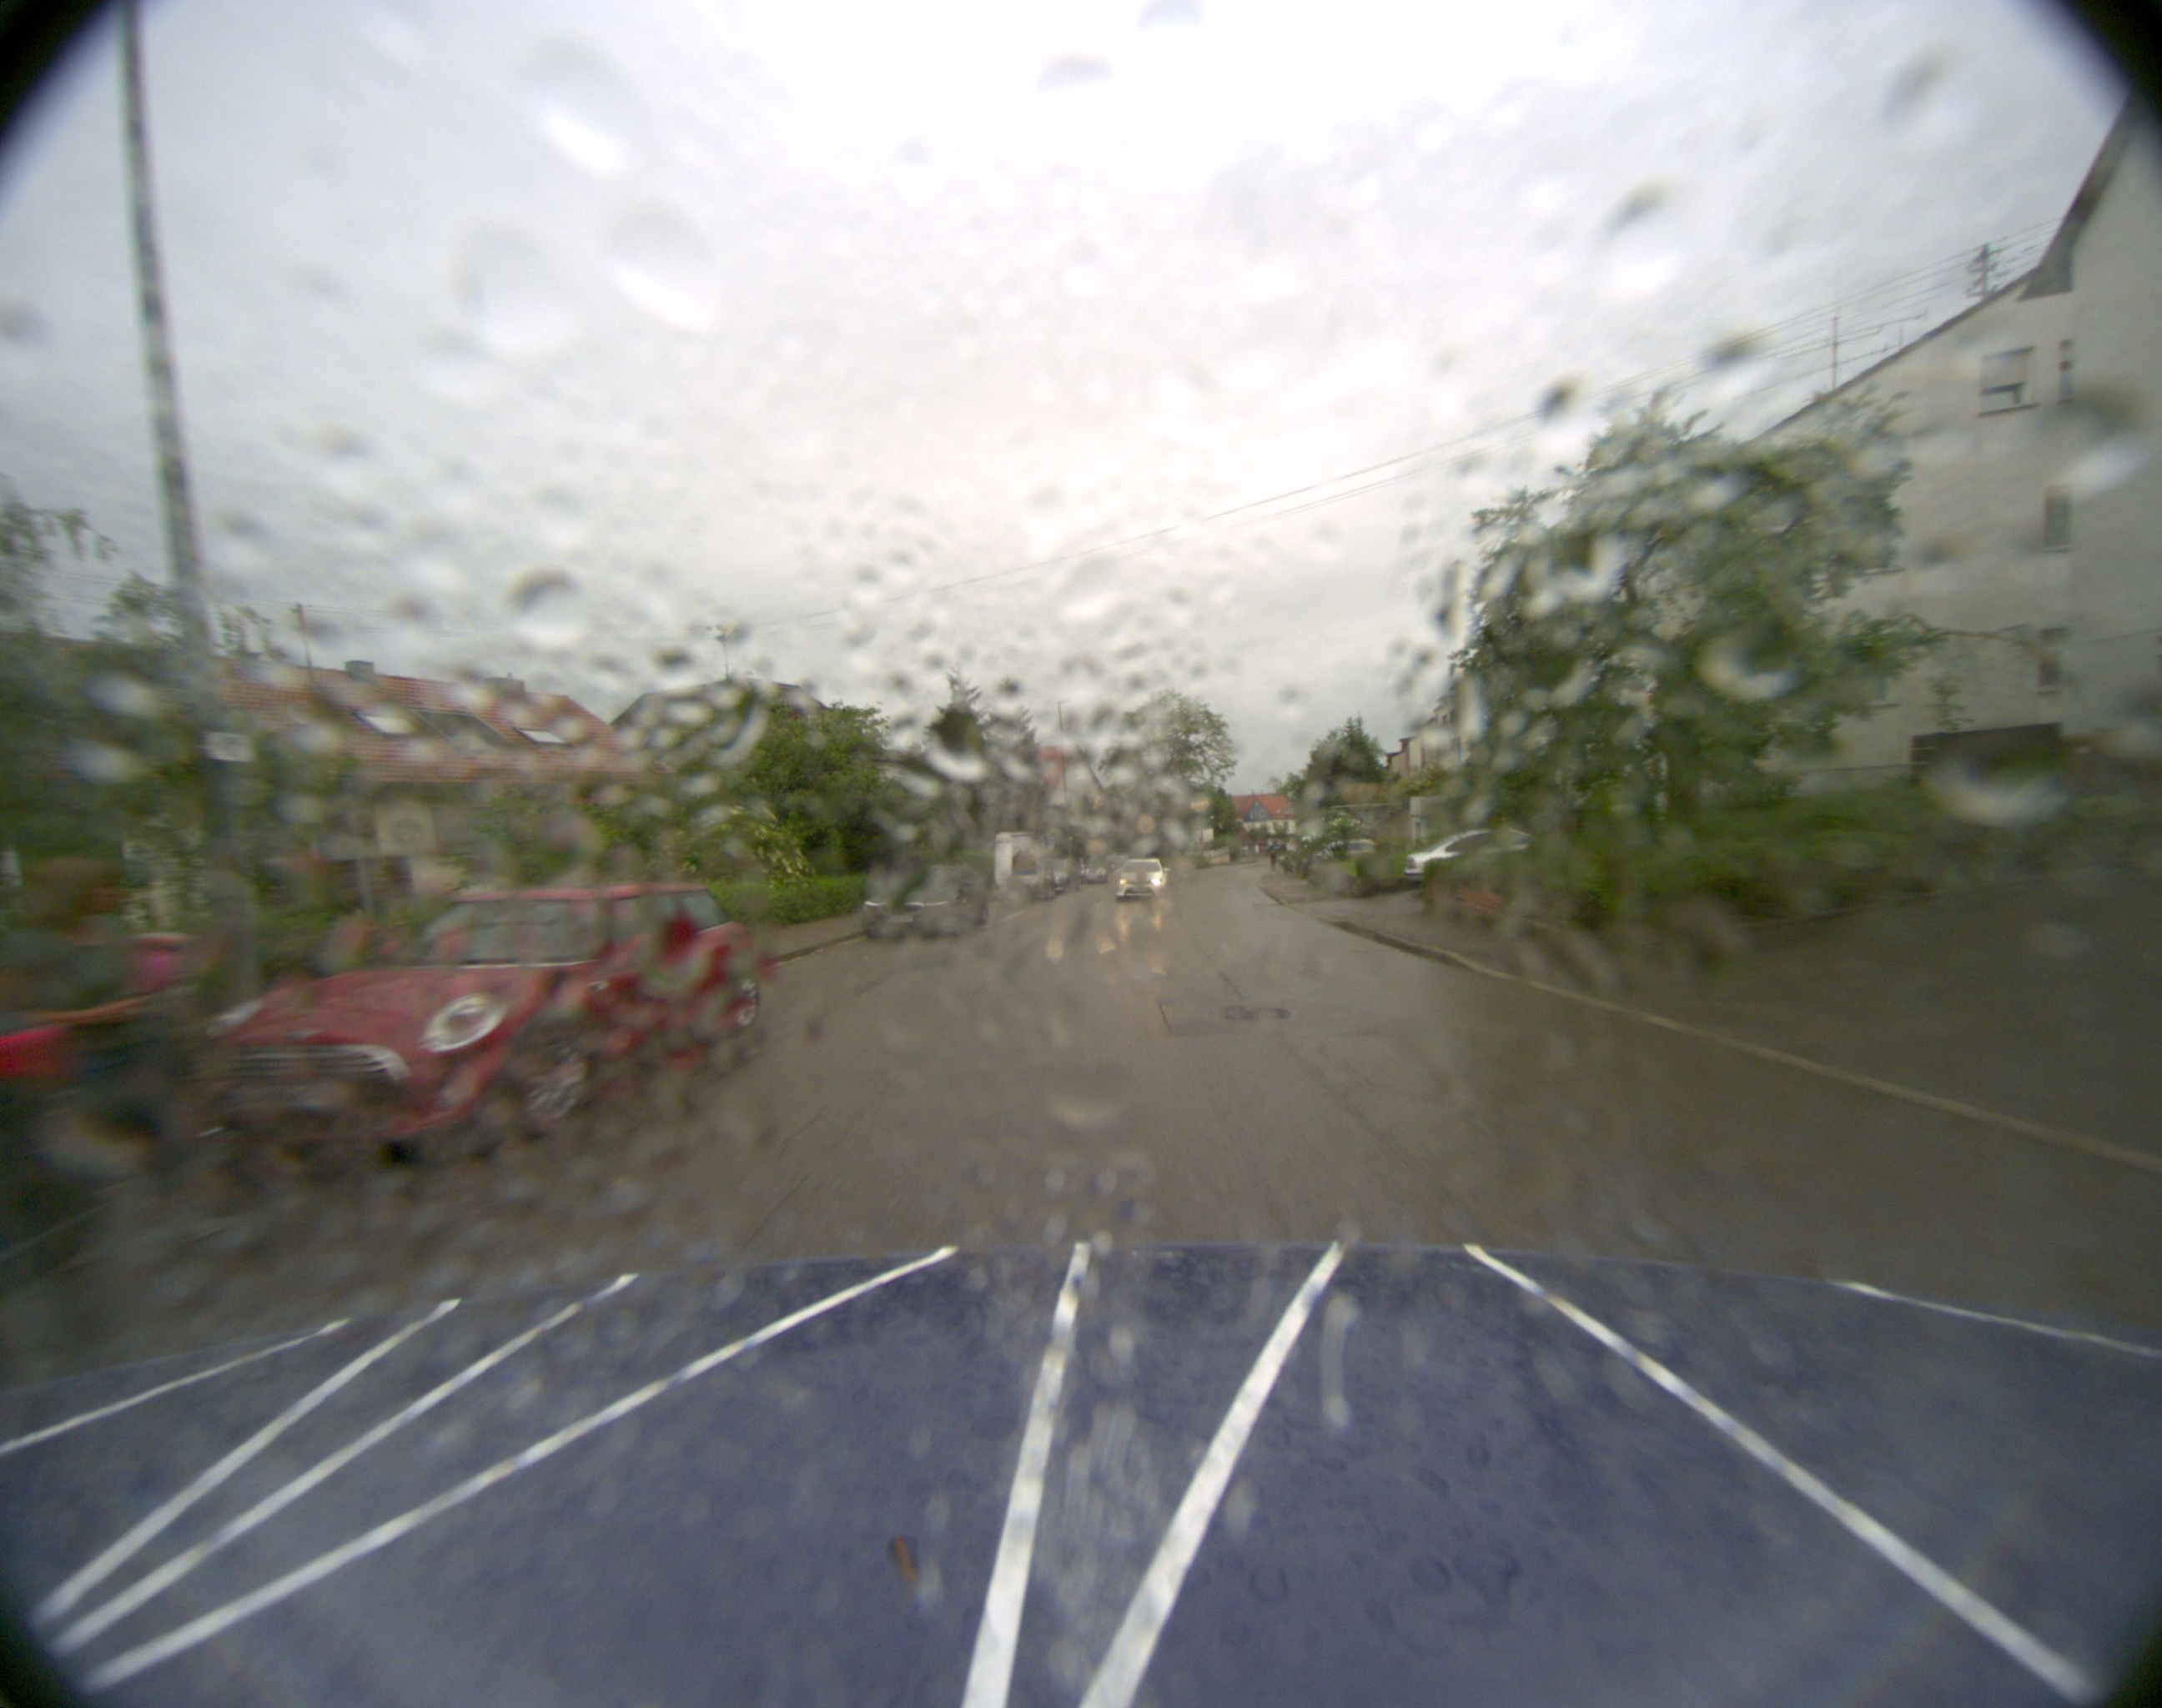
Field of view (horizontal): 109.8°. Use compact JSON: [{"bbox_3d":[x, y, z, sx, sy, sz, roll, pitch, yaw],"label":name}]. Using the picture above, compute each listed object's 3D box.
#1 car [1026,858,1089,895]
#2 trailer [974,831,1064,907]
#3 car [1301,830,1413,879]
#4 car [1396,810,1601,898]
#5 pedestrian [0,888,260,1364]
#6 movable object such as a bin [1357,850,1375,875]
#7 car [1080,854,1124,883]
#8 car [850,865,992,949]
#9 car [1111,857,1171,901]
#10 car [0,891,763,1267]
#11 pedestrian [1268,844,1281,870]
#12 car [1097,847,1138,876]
[{"bbox_3d":[-0.962,0.952,33.677,1.750,1.416,4.707,-2,0,11],"label":"car"},{"bbox_3d":[-2.125,0.476,27.807,1.952,2.442,5.437,-2,1,9],"label":"trailer"},{"bbox_3d":[12.698,0.030,35.257,4.517,1.604,1.934,-9,-1,13],"label":"car"},{"bbox_3d":[10.636,0.018,19.746,4.259,1.423,1.768,-11,-2,19],"label":"car"},{"bbox_3d":[-4.016,0.976,2.993,0.718,1.625,0.707,-2,1,0],"label":"pedestrian"},{"bbox_3d":[12.336,0.362,32.920,0.538,1.013,0.711,-7,-1,11],"label":"movable object such as a bin"},{"bbox_3d":[1.238,0.793,43.228,1.636,1.448,3.704,-2,1,15],"label":"car"},{"bbox_3d":[-3.323,1.050,16.821,1.797,1.451,4.790,-2,0,4],"label":"car"},{"bbox_3d":[2.279,0.853,27.893,1.862,1.369,4.183,-2,0,8],"label":"car"},{"bbox_3d":[-3.938,1.093,5.289,1.740,1.406,3.851,-2,1,1],"label":"car"},{"bbox_3d":[12.151,0.194,47.783,0.657,1.639,0.733,-3,-1,10],"label":"pedestrian"},{"bbox_3d":[2.405,0.465,48.776,1.832,1.691,4.464,-2,1,12],"label":"car"}]
